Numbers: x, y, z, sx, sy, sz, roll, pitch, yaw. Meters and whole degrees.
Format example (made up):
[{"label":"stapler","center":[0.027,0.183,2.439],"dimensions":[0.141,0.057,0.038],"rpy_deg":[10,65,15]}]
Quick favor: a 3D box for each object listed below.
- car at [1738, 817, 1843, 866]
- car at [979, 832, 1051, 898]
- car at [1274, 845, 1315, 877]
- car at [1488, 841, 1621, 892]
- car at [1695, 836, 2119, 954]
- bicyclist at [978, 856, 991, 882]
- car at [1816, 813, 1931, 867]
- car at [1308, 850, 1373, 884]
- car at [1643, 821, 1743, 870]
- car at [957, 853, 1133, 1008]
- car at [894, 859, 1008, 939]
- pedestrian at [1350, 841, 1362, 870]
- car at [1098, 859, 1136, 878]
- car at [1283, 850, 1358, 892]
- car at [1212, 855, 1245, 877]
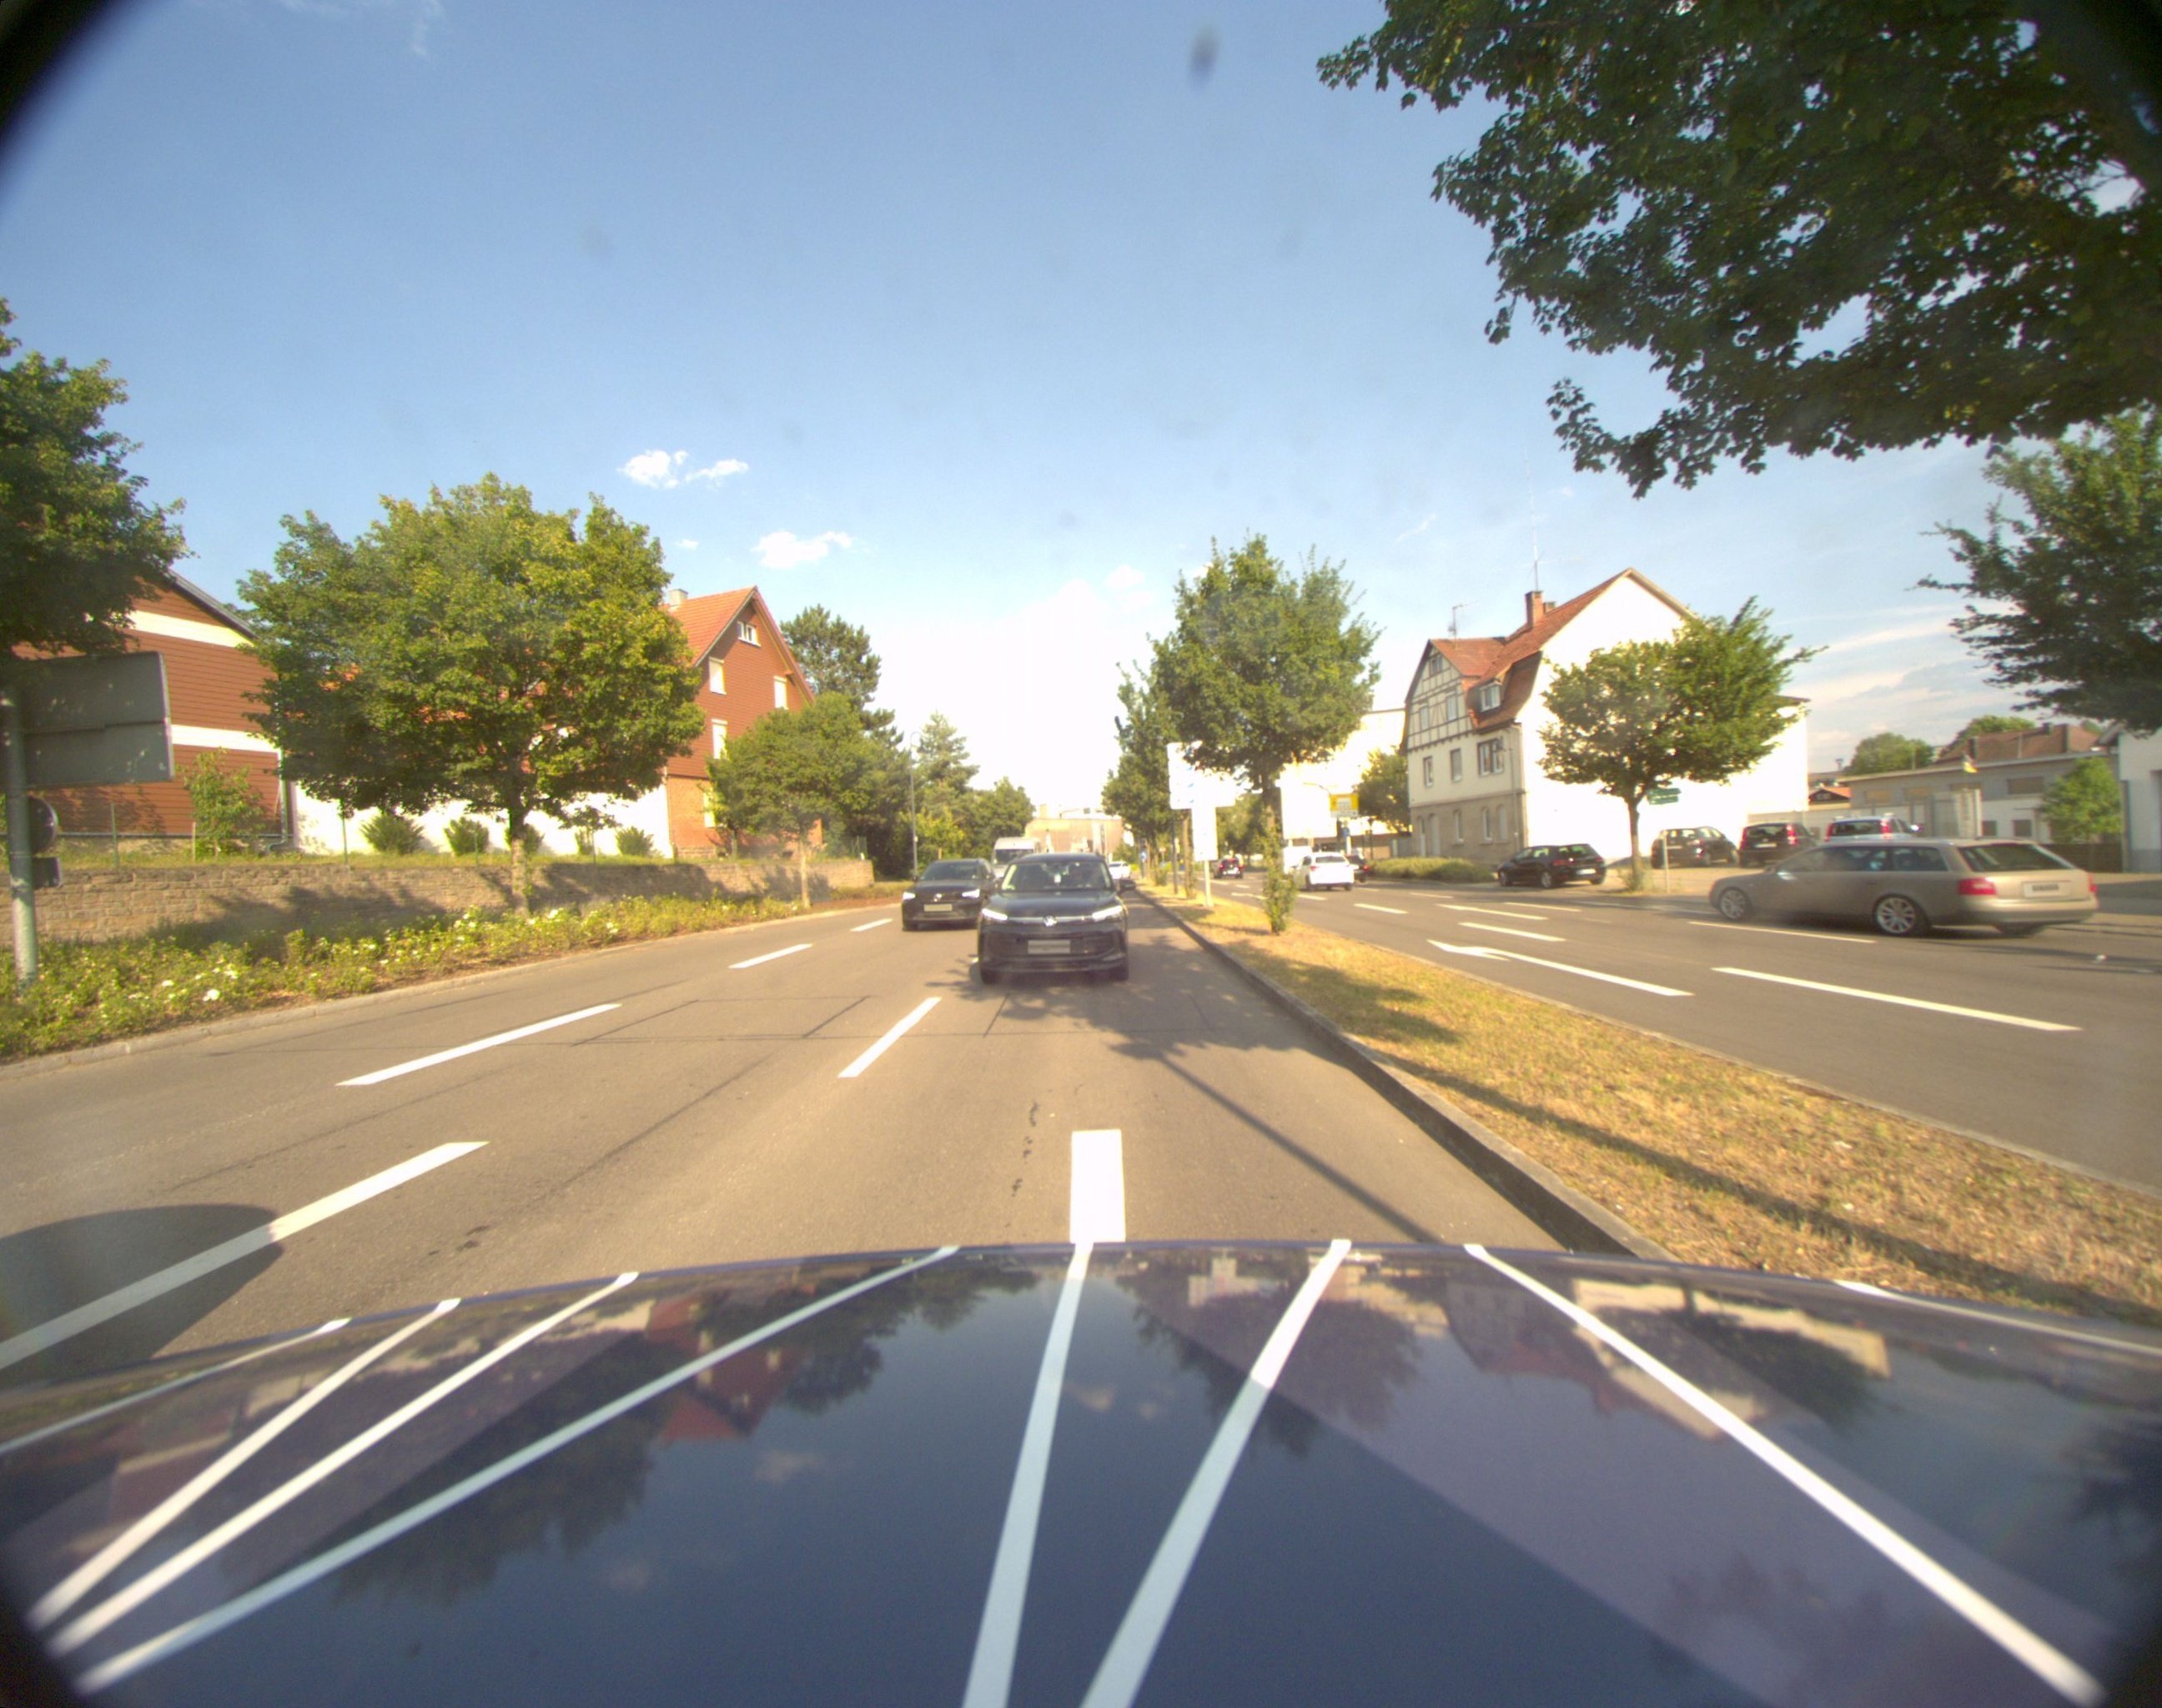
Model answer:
[{"label":"car","center":[24.779,-0.441,26.502],"dimensions":[4.006,1.543,1.763],"rpy_deg":[-2,0,-33]},{"label":"car","center":[-2.719,0.413,33.068],"dimensions":[2.370,2.532,6.193],"rpy_deg":[-2,0,2]},{"label":"car","center":[13.654,0.426,48.859],"dimensions":[1.826,1.912,4.947],"rpy_deg":[-2,0,8]},{"label":"car","center":[15.906,0.375,25.805],"dimensions":[1.839,1.435,4.195],"rpy_deg":[-5,0,1]},{"label":"car","center":[12.535,0.516,12.136],"dimensions":[1.690,1.454,4.711],"rpy_deg":[-2,0,1]},{"label":"bicyclist","center":[-6.464,1.013,50.893],"dimensions":[0.603,1.668,0.735],"rpy_deg":[-2,1,14]},{"label":"car","center":[24.937,-0.448,23.881],"dimensions":[4.006,1.543,1.763],"rpy_deg":[-2,0,-33]},{"label":"car","center":[12.747,0.605,37.593],"dimensions":[1.811,1.488,4.245],"rpy_deg":[-2,0,1]},{"label":"car","center":[23.187,-0.330,28.754],"dimensions":[4.006,1.543,1.764],"rpy_deg":[-4,1,-33]},{"label":"car","center":[-0.347,0.848,10.797],"dimensions":[1.894,1.647,4.730],"rpy_deg":[-2,0,1]},{"label":"car","center":[-2.972,0.980,18.289],"dimensions":[1.886,1.599,4.128],"rpy_deg":[-2,0,2]},{"label":"pedestrian","center":[19.342,0.107,53.419],"dimensions":[0.698,1.971,0.589],"rpy_deg":[-2,1,16]},{"label":"car","center":[2.907,1.167,60.852],"dimensions":[1.763,1.346,4.137],"rpy_deg":[-2,0,21]},{"label":"car","center":[9.601,0.634,30.718],"dimensions":[1.805,1.488,3.955],"rpy_deg":[-2,0,1]},{"label":"car","center":[10.473,0.841,54.179],"dimensions":[1.773,1.442,4.109],"rpy_deg":[-2,0,5]}]
